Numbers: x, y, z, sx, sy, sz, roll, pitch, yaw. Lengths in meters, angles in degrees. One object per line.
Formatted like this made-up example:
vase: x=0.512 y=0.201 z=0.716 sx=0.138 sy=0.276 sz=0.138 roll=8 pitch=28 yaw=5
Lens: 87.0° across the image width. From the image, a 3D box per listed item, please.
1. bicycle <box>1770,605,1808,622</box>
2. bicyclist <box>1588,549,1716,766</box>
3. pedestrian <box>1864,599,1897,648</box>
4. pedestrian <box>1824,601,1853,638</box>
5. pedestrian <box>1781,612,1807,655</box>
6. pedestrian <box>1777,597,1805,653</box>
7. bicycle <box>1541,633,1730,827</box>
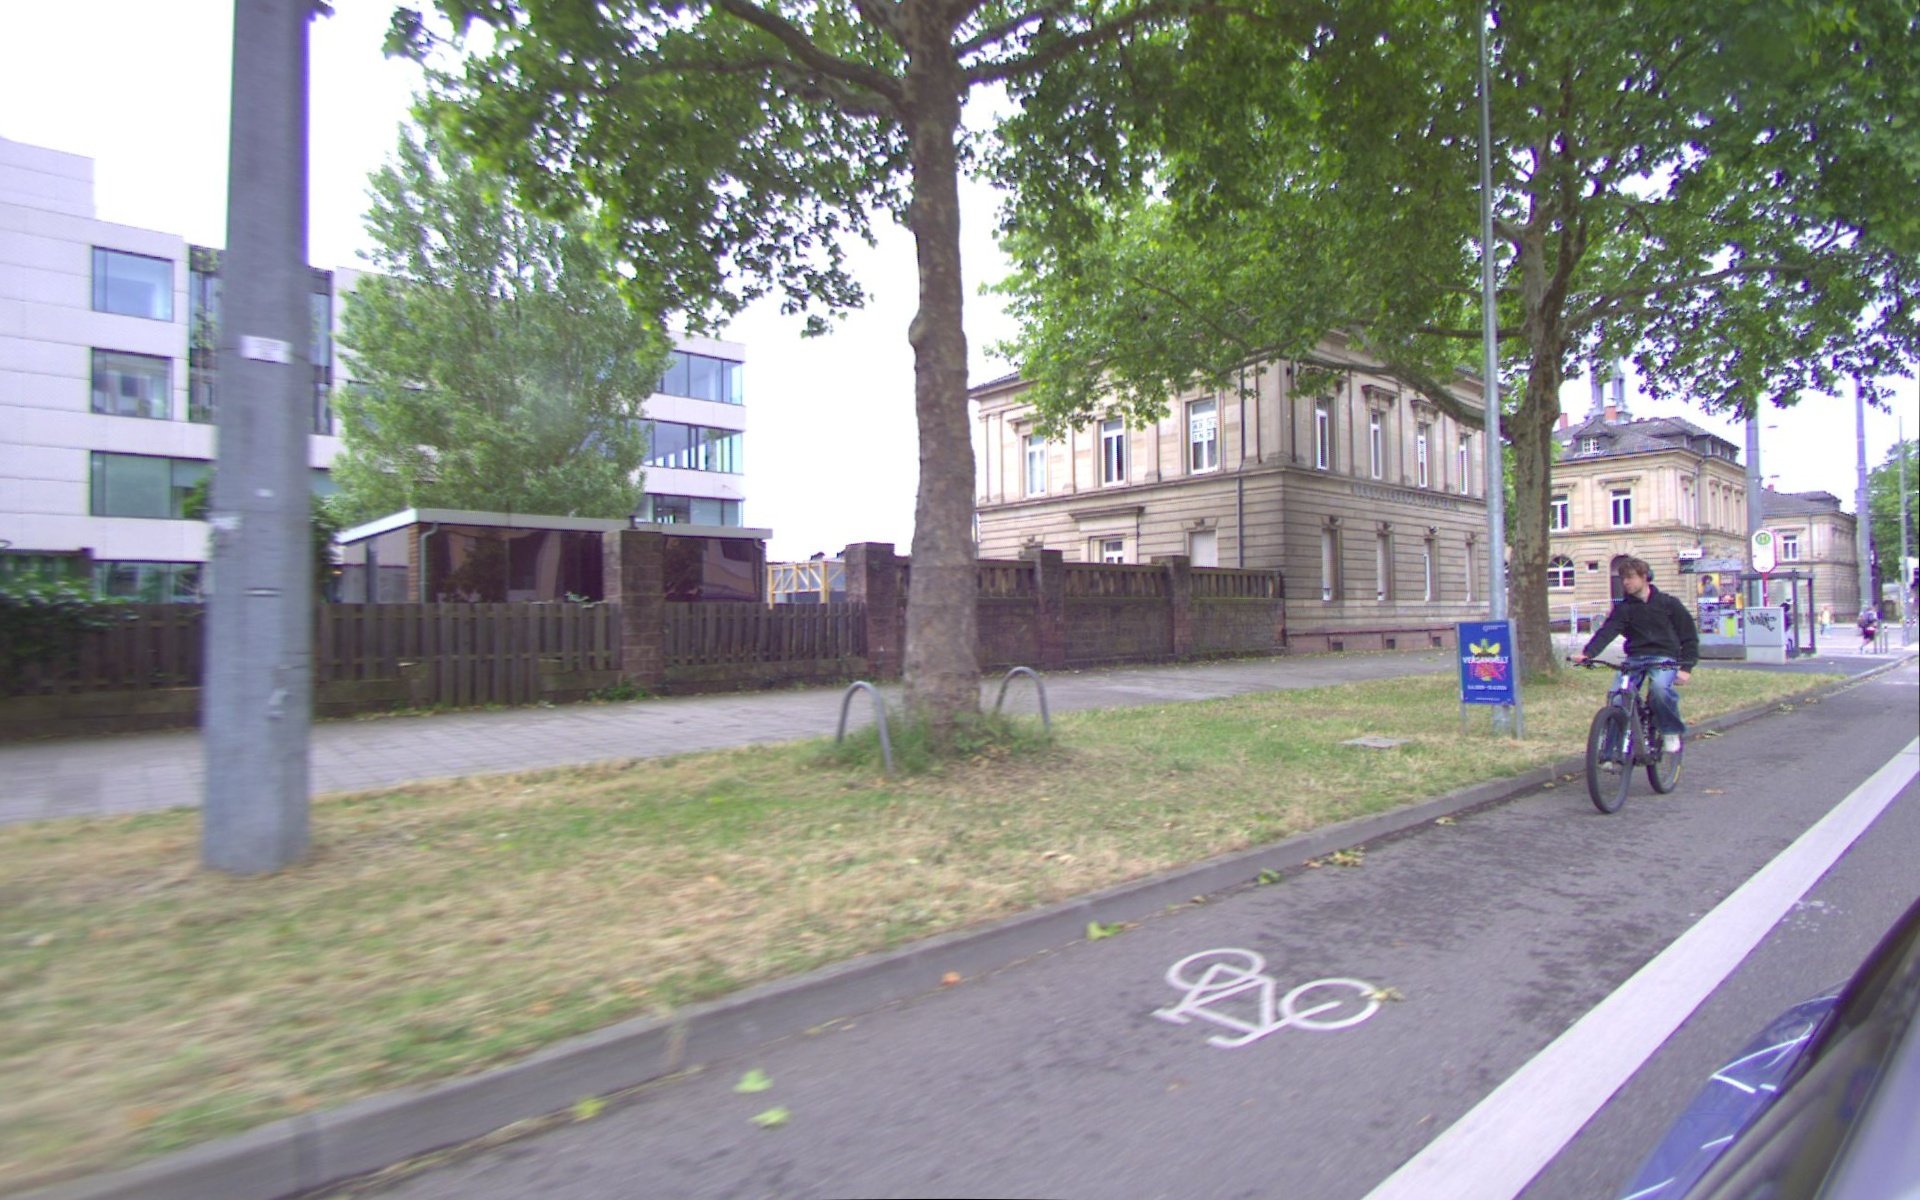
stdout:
bicycle: x=55.300 y=0.897 z=67.537 sx=1.843 sy=1.092 sz=0.541 roll=2 pitch=1 yaw=31
bicyclist: x=5.265 y=0.413 z=7.703 sx=0.653 sy=1.550 sz=0.641 roll=0 pitch=-1 yaw=-43
pedestrian: x=29.550 y=0.753 z=32.489 sx=0.625 sy=1.548 sz=0.554 roll=-1 pitch=-1 yaw=-24
pedestrian: x=41.284 y=0.898 z=47.556 sx=0.980 sy=1.699 sz=0.721 roll=-1 pitch=-1 yaw=-31
pedestrian: x=24.773 y=0.990 z=30.057 sx=0.690 sy=1.250 sz=0.477 roll=0 pitch=-1 yaw=-42
pedestrian: x=23.986 y=0.727 z=29.201 sx=0.690 sy=1.583 sz=0.477 roll=0 pitch=-1 yaw=-42
bicycle: x=5.066 y=0.867 z=7.518 sx=2.245 sy=1.164 sz=0.653 roll=-1 pitch=-1 yaw=-43
